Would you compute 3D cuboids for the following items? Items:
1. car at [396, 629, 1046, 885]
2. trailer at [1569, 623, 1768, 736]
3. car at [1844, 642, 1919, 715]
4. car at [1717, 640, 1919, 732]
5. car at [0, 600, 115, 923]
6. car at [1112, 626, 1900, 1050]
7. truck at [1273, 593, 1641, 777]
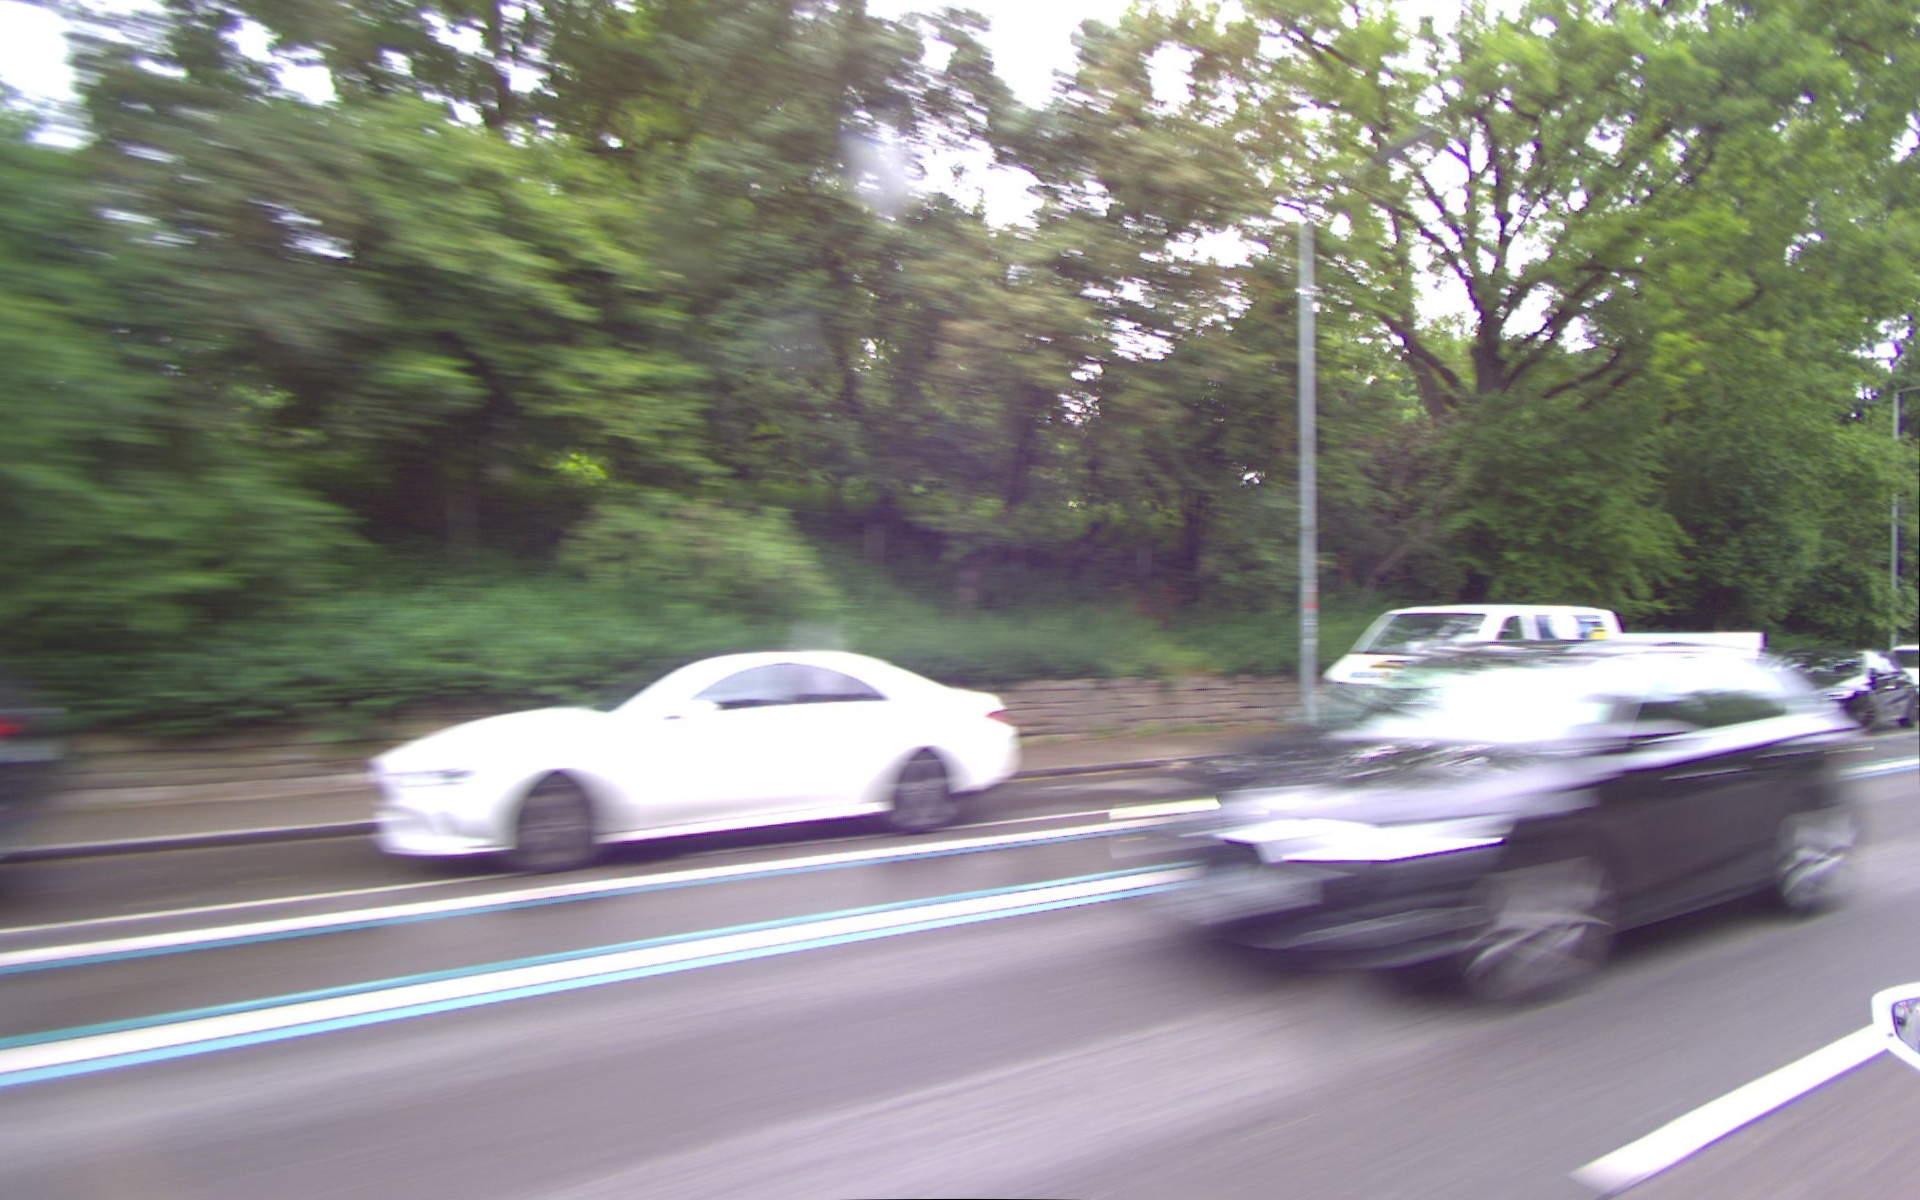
[{"bbox_3d":[-1.750,1.023,7.963,4.698,1.518,1.798,2,-2,-31],"label":"car"},{"bbox_3d":[11.229,1.228,16.031,2.220,1.679,1.352,0,-1,8],"label":"trailer"},{"bbox_3d":[21.177,1.659,21.876,4.308,1.454,1.745,1,-2,-32],"label":"car"},{"bbox_3d":[15.660,1.464,18.167,4.398,1.417,1.810,1,-1,-34],"label":"car"},{"bbox_3d":[-7.277,0.825,4.859,4.620,1.682,1.727,1,-2,-32],"label":"car"},{"bbox_3d":[3.109,0.932,5.450,4.445,1.476,1.756,2,-3,-31],"label":"car"},{"bbox_3d":[6.717,1.005,13.391,5.103,2.040,2.081,1,-1,-33],"label":"truck"}]
